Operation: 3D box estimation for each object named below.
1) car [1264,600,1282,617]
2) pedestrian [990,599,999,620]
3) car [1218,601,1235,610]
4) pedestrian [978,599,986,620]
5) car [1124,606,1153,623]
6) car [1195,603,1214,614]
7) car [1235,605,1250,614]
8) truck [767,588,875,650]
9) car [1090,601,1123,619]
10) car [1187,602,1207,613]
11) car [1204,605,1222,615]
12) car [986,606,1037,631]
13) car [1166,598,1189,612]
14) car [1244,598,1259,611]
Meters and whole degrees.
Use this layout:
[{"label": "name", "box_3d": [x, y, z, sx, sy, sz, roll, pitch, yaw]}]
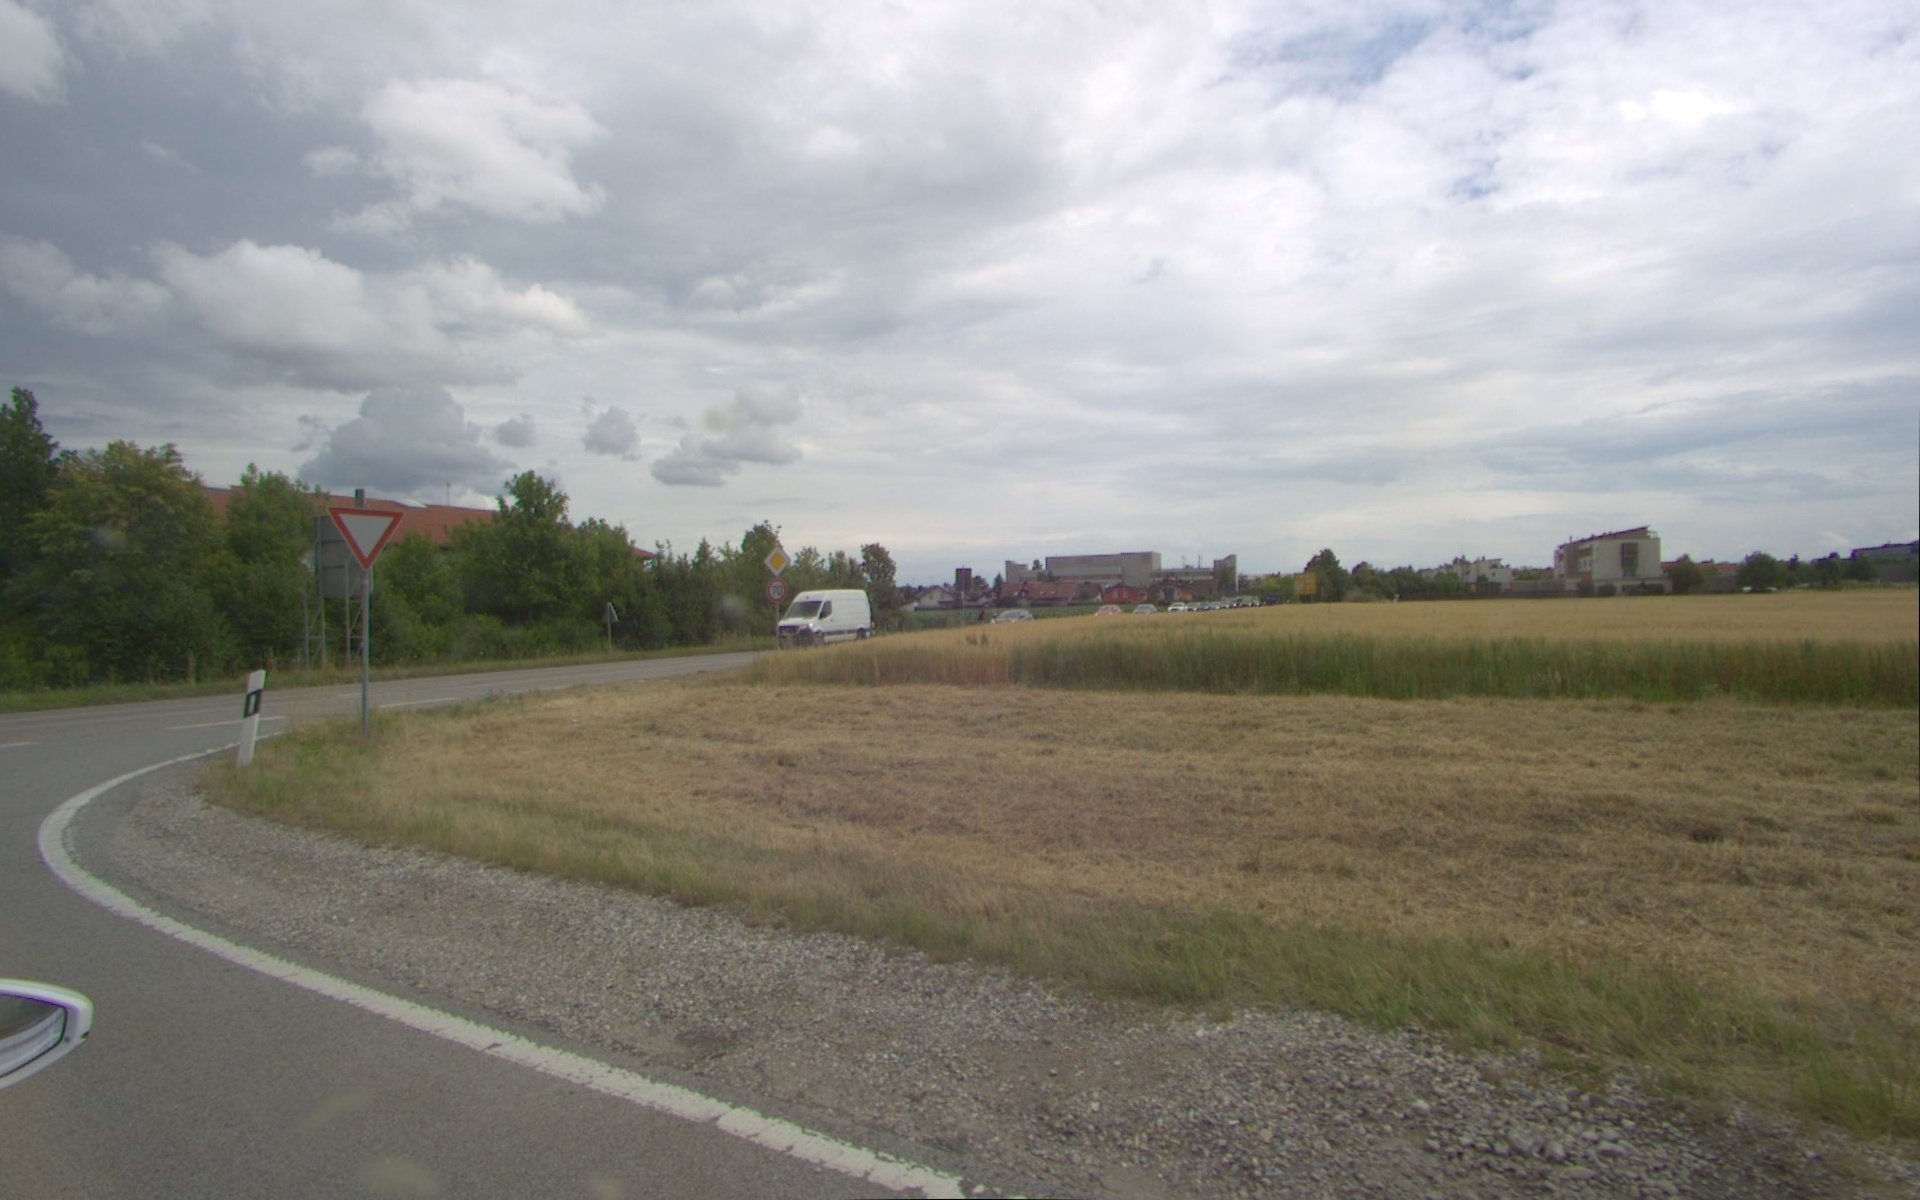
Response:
[{"label": "car", "box_3d": [51.382, 1.385, 164.526, 2.114, 2.675, 5.550, 0, 1, 25]}, {"label": "pedestrian", "box_3d": [2.750, 0.774, 80.294, 0.521, 1.705, 0.626, 0, 2, 20]}, {"label": "car", "box_3d": [38.200, 0.770, 143.290, 1.825, 1.287, 3.519, -1, 0, 23]}, {"label": "pedestrian", "box_3d": [1.762, 0.782, 80.608, 0.521, 1.705, 0.626, 0, 2, 20]}, {"label": "car", "box_3d": [17.296, 1.382, 96.770, 1.826, 1.486, 3.986, -1, 0, 25]}, {"label": "car", "box_3d": [31.359, 1.102, 128.399, 1.825, 1.287, 3.519, -1, 0, 23]}, {"label": "car", "box_3d": [45.449, 1.552, 160.935, 1.825, 1.287, 3.519, -1, 0, 23]}, {"label": "truck", "box_3d": [-6.226, 0.826, 45.844, 1.967, 2.609, 5.998, -2, -1, 24]}, {"label": "car", "box_3d": [12.755, 0.864, 87.160, 1.826, 1.486, 3.986, -1, 0, 25]}, {"label": "car", "box_3d": [28.732, 0.882, 121.258, 1.825, 1.287, 3.519, -1, 0, 23]}, {"label": "car", "box_3d": [34.019, 1.351, 134.753, 1.825, 1.287, 3.519, -1, 0, 23]}, {"label": "car", "box_3d": [3.446, 1.201, 65.800, 1.967, 1.483, 4.148, -2, 0, 24]}, {"label": "car", "box_3d": [24.719, 0.535, 113.549, 1.825, 1.486, 3.988, -1, 0, 23]}, {"label": "car", "box_3d": [49.893, 0.754, 171.185, 1.967, 2.041, 3.987, 0, 1, 23]}]
